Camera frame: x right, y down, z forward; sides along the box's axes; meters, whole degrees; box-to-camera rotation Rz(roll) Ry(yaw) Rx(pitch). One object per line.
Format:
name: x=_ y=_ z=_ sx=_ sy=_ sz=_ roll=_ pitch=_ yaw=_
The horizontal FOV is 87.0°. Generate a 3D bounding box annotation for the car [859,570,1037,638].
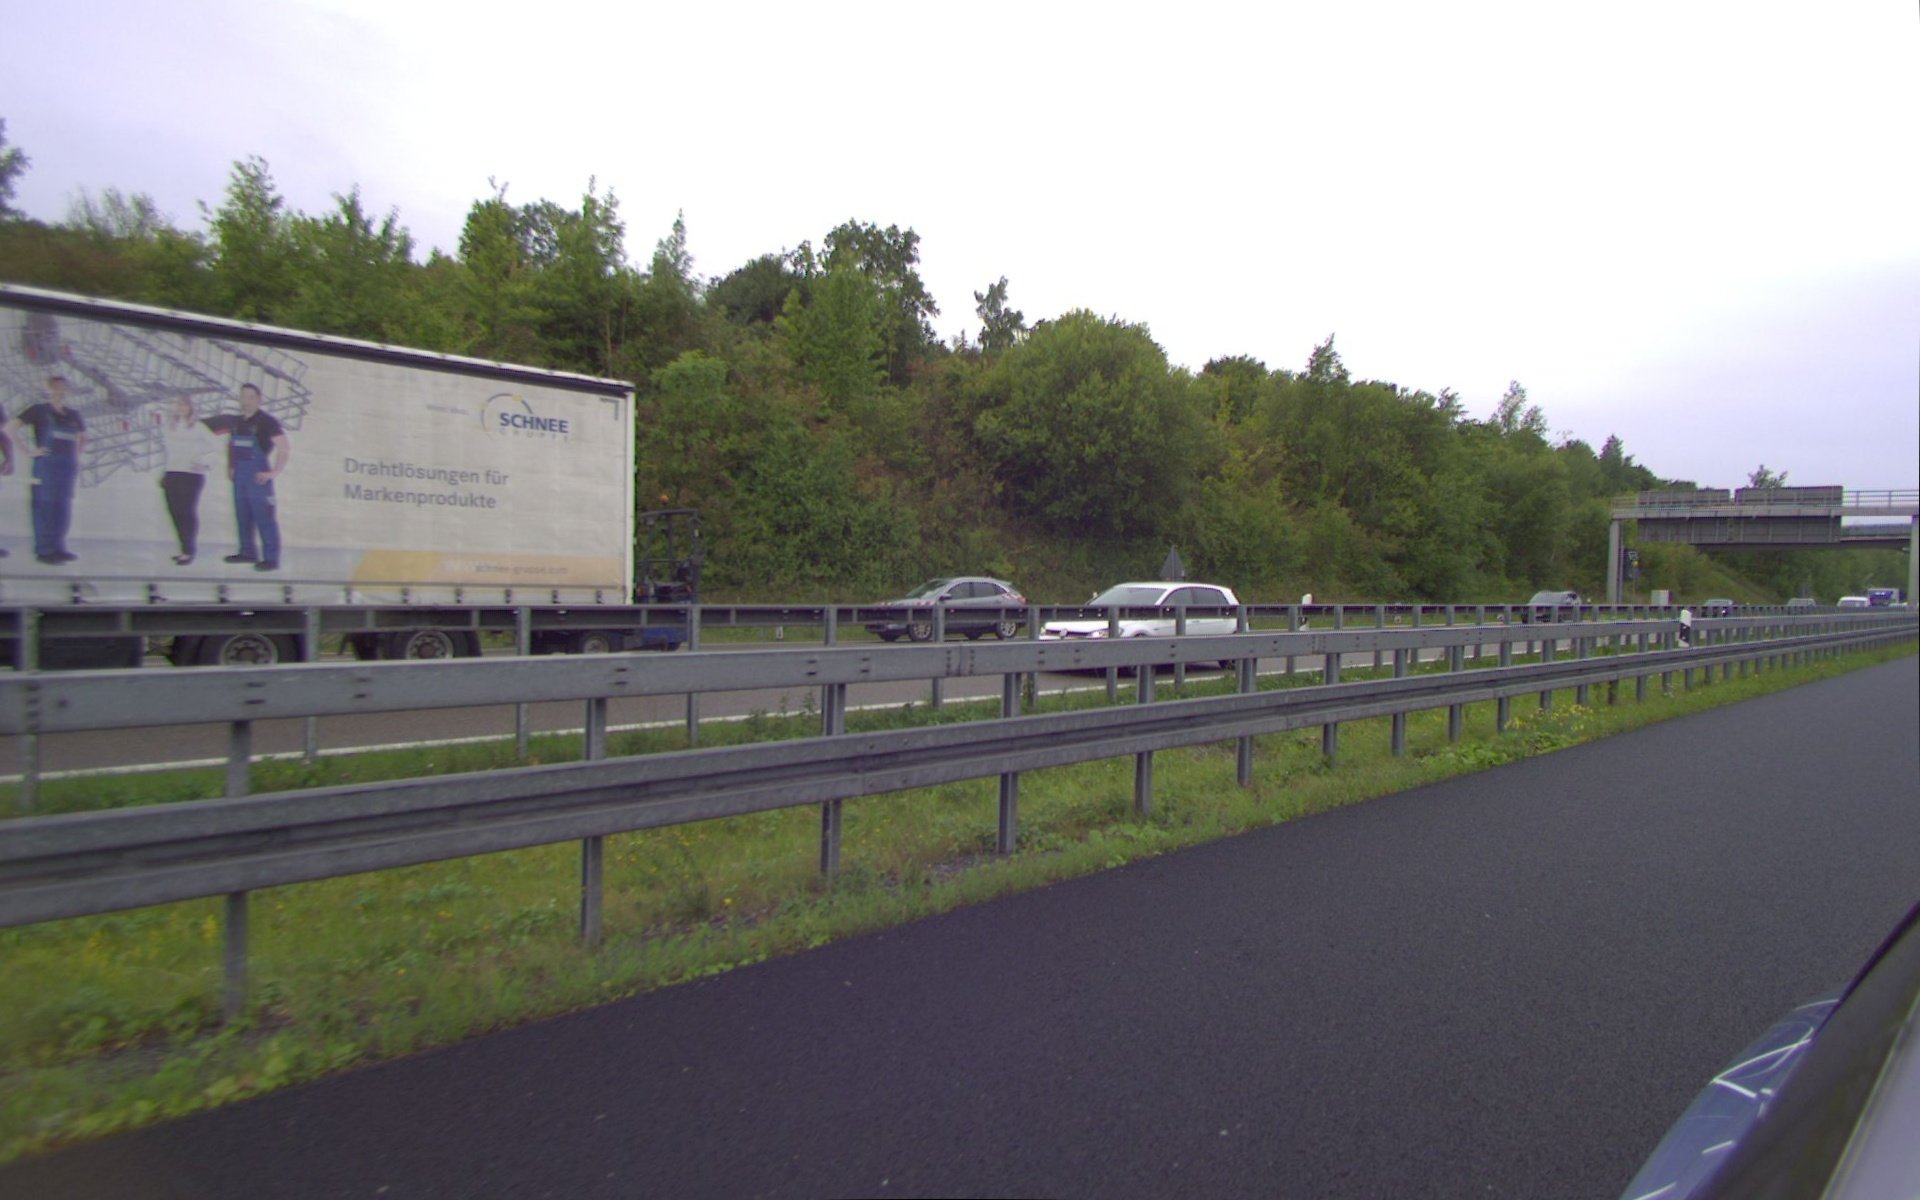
car: x=-0.258 y=0.070 z=26.480 sx=4.415 sy=1.634 sz=1.866 roll=0 pitch=1 yaw=-36

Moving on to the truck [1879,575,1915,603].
truck: x=119.696 y=-1.384 z=129.187 sx=9.130 sy=3.460 sz=2.904 roll=-1 pitch=1 yaw=-44

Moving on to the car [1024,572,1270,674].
car: x=3.151 y=0.292 z=16.648 sx=4.086 sy=1.465 sz=1.863 roll=0 pitch=1 yaw=-41

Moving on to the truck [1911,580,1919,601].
truck: x=168.745 y=-1.671 z=176.748 sx=13.128 sy=3.460 sz=2.905 roll=-1 pitch=1 yaw=-43

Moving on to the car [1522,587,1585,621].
car: x=29.672 y=0.141 z=50.563 sx=1.859 sy=1.602 sz=4.175 roll=1 pitch=1 yaw=43

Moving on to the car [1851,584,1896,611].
car: x=65.691 y=-0.188 z=72.752 sx=4.567 sy=1.827 sz=1.863 roll=0 pitch=1 yaw=-41

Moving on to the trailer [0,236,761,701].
trailer: x=-7.898 y=-1.268 z=12.648 sx=10.270 sy=4.343 sz=3.444 roll=0 pitch=1 yaw=-41
